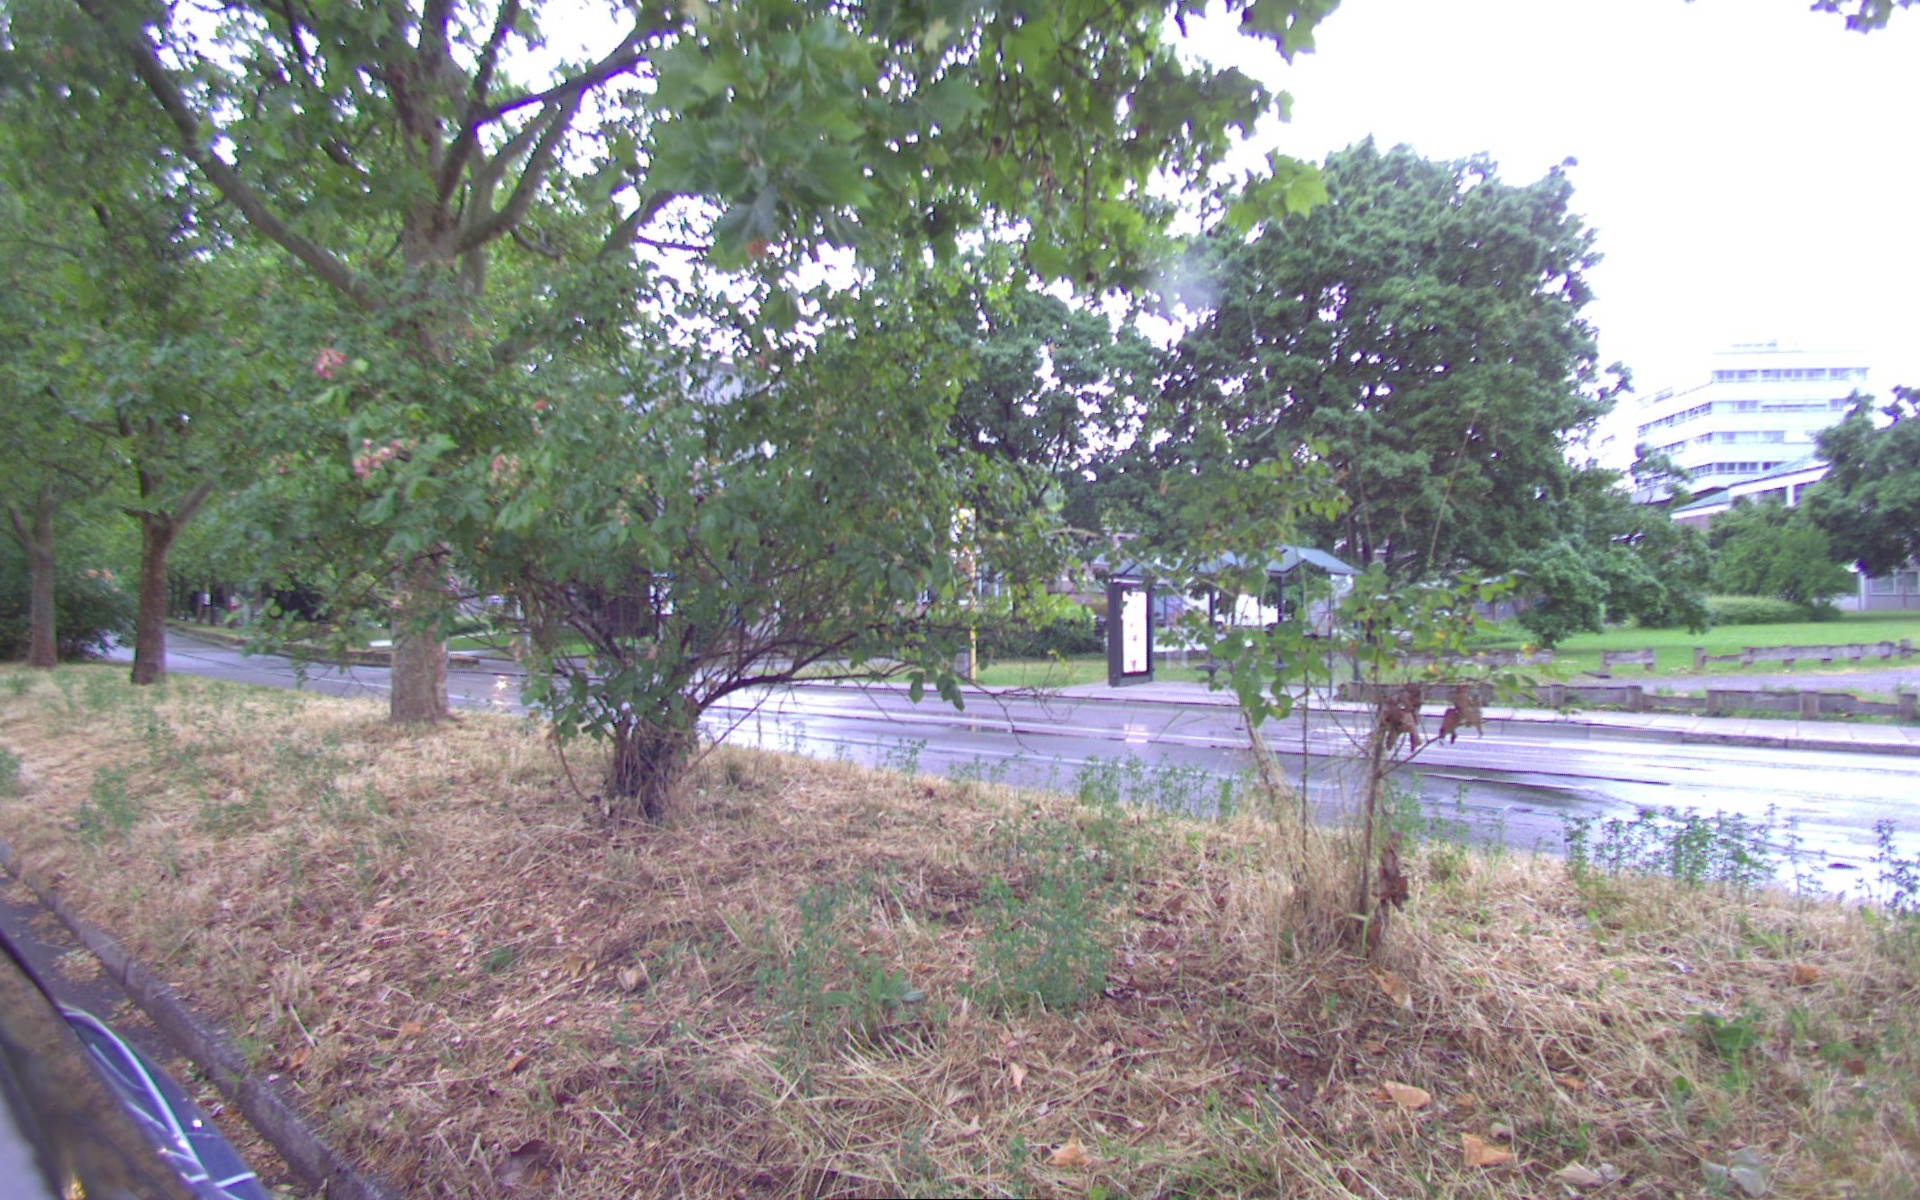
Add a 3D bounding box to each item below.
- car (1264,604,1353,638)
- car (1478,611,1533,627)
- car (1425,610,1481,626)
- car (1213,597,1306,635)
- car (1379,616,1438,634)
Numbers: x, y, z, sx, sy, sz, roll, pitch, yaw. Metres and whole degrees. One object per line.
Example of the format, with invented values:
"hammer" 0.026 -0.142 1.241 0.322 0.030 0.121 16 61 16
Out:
"car" 22.415 1.301 65.307 2.251 2.037 5.091 -1 1 -36
"car" 43.951 1.539 81.604 1.566 1.151 3.564 -1 1 -37
"car" 37.717 1.361 77.479 1.566 1.151 3.564 -1 1 -37
"car" 18.556 0.943 62.915 2.080 2.229 5.483 -1 1 -33
"car" 32.244 1.784 72.762 1.566 1.151 3.564 -1 1 -37
